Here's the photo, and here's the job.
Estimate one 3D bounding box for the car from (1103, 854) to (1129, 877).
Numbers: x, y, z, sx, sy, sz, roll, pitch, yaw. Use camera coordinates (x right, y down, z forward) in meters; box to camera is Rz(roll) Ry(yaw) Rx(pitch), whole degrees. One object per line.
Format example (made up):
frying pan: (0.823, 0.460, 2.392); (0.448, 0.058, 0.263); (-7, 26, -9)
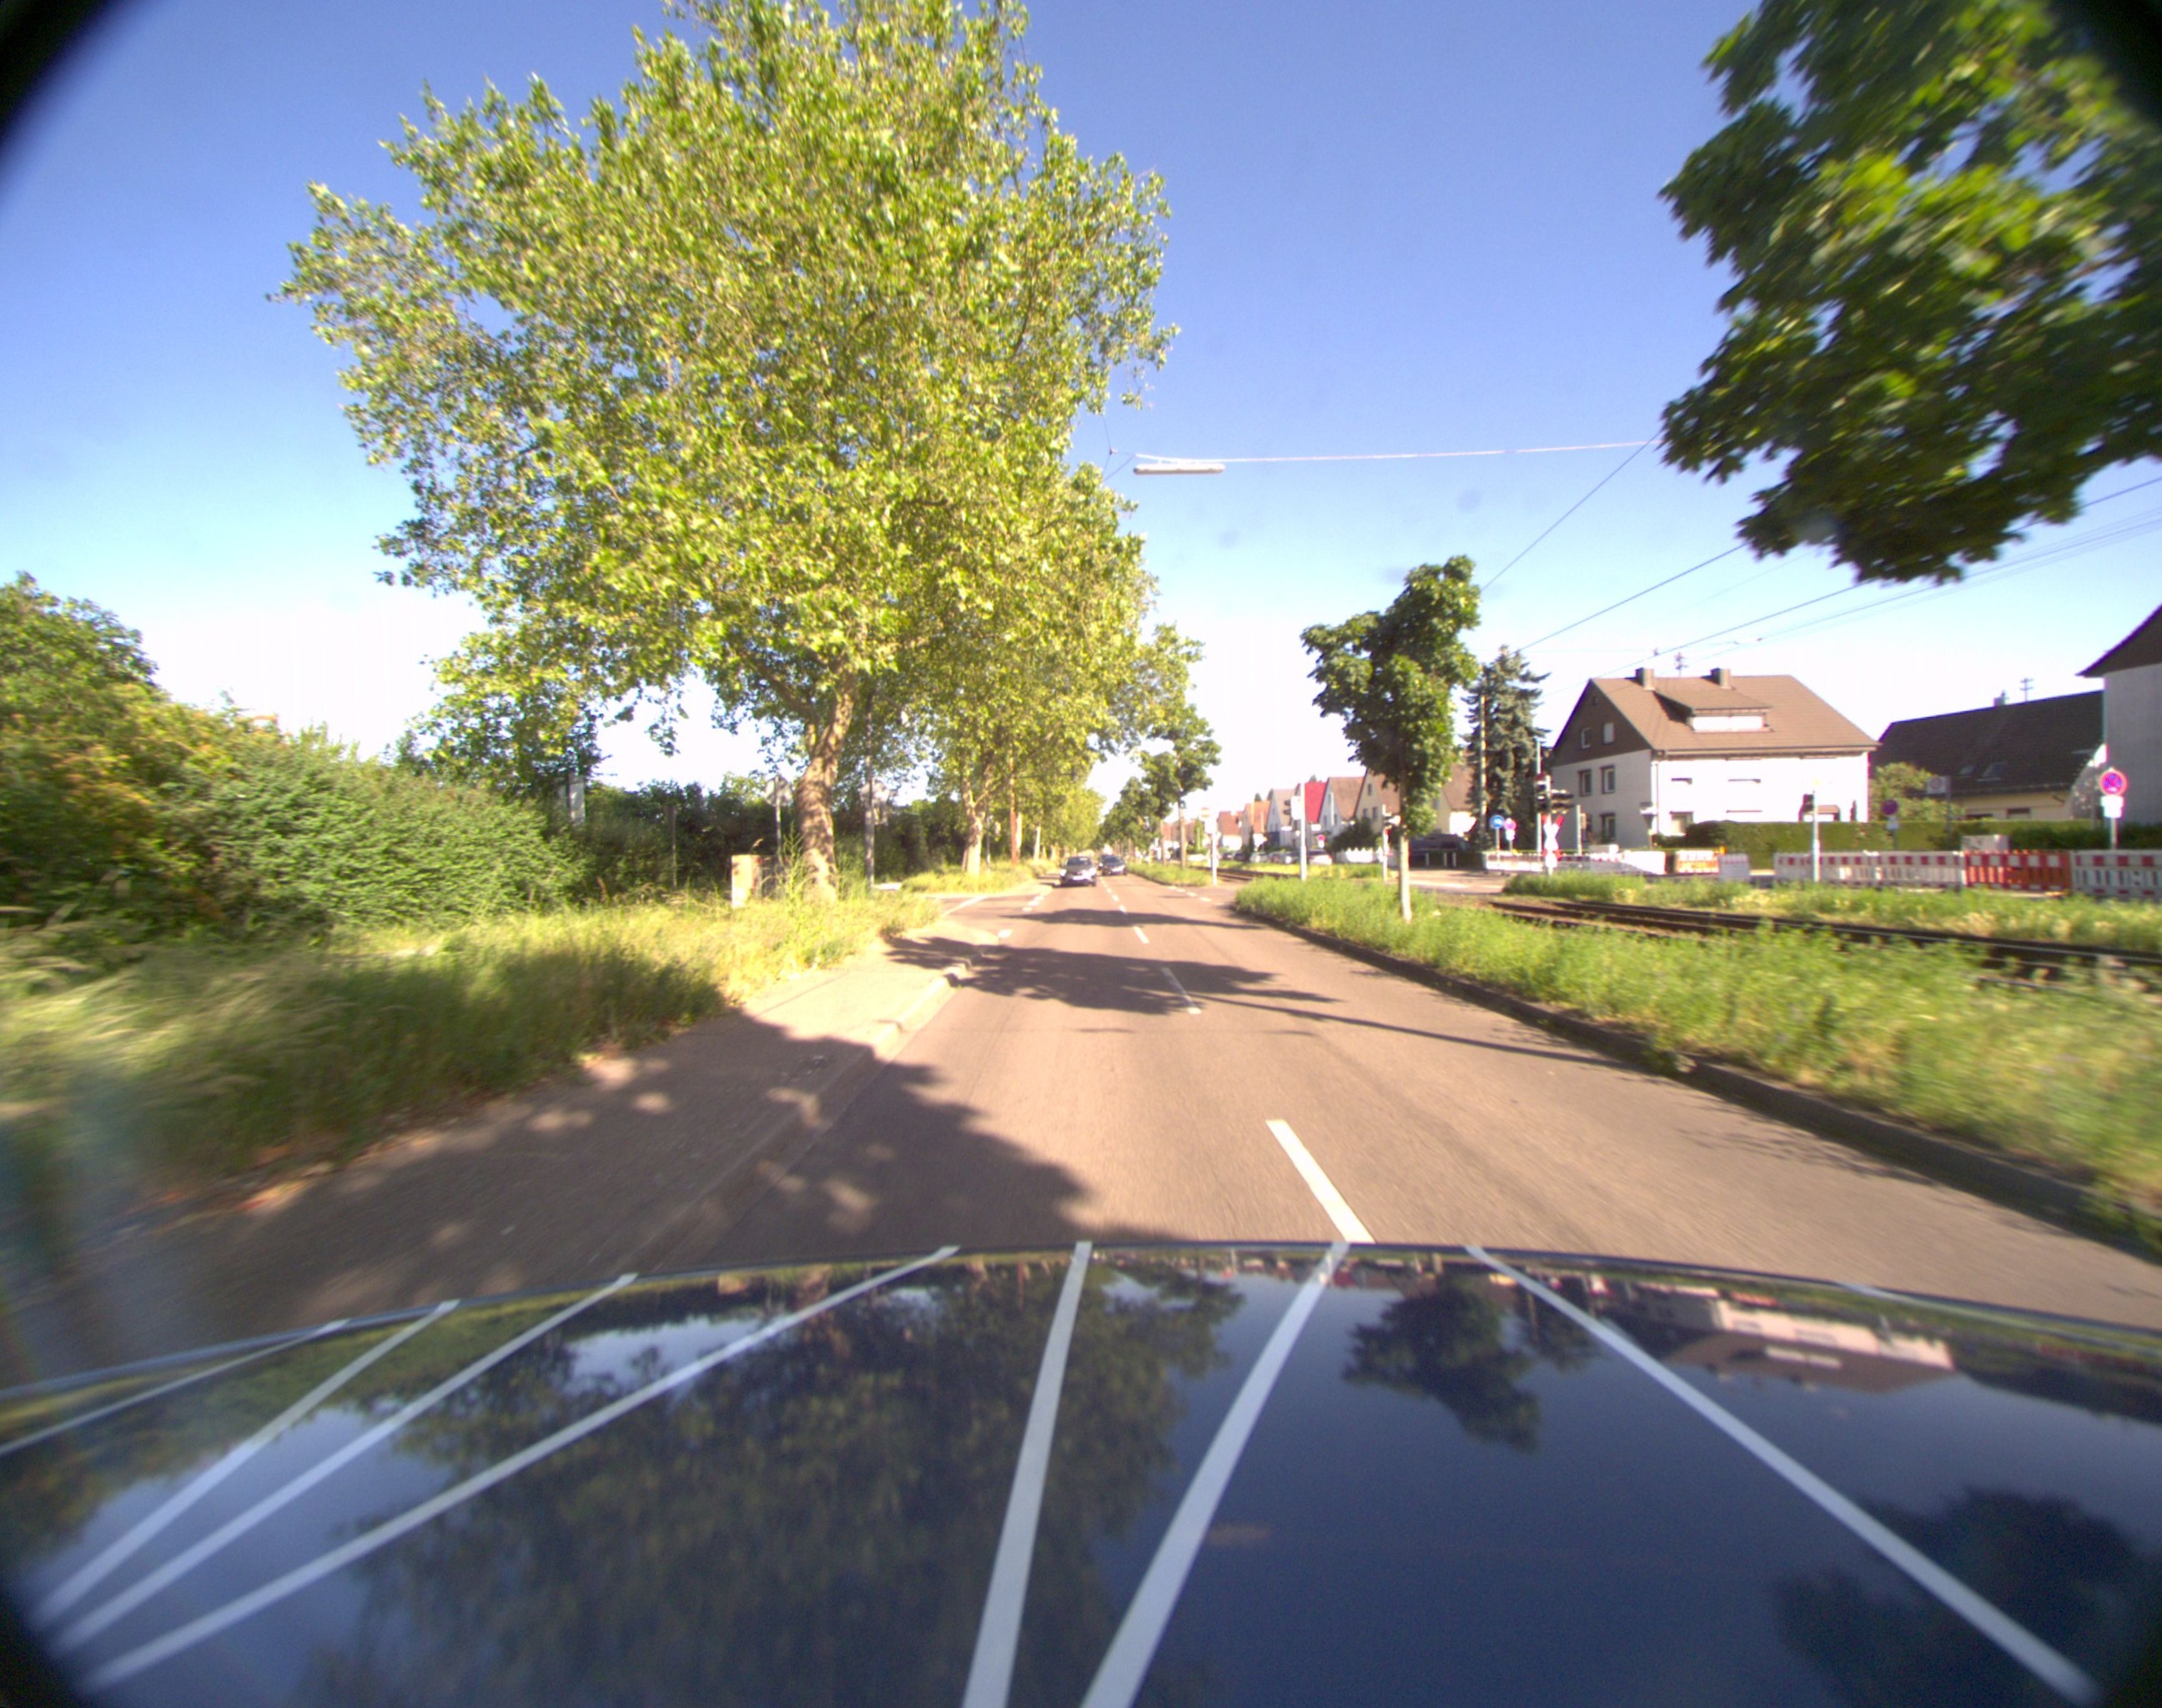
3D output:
car: (2.556, 0.839, 56.179); (1.692, 1.499, 3.582); (-3, 1, 1)

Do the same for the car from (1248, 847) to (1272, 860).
car: (22.064, -0.105, 93.570); (1.998, 1.418, 4.410); (-3, 1, 2)

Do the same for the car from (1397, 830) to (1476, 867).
car: (27.368, -0.397, 58.651); (5.041, 2.609, 2.102); (-2, 0, 0)

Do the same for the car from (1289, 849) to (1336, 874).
car: (16.725, 0.505, 55.116); (1.998, 1.594, 4.473); (-3, 1, 0)

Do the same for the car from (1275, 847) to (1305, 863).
car: (21.839, 0.070, 79.635); (1.951, 1.544, 4.056); (-3, 1, 0)

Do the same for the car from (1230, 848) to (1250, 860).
car: (22.427, -0.032, 107.333); (1.931, 1.486, 4.255); (-3, 1, 0)

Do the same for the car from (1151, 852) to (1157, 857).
car: (23.457, 0.002, 244.817); (1.738, 1.481, 3.755); (-3, 1, 1)

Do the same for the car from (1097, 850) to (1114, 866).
car: (2.527, 0.416, 79.354); (1.692, 1.499, 3.582); (-3, 1, 1)

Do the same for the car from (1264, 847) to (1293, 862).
car: (21.939, 0.043, 84.549); (1.998, 1.441, 4.127); (-5, 1, 0)

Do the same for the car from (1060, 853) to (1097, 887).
car: (-0.111, 0.786, 39.022); (1.692, 1.499, 3.582); (-4, 1, 1)

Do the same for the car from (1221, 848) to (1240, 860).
car: (22.868, 0.014, 116.045); (1.998, 1.703, 4.390); (-3, 1, 0)
